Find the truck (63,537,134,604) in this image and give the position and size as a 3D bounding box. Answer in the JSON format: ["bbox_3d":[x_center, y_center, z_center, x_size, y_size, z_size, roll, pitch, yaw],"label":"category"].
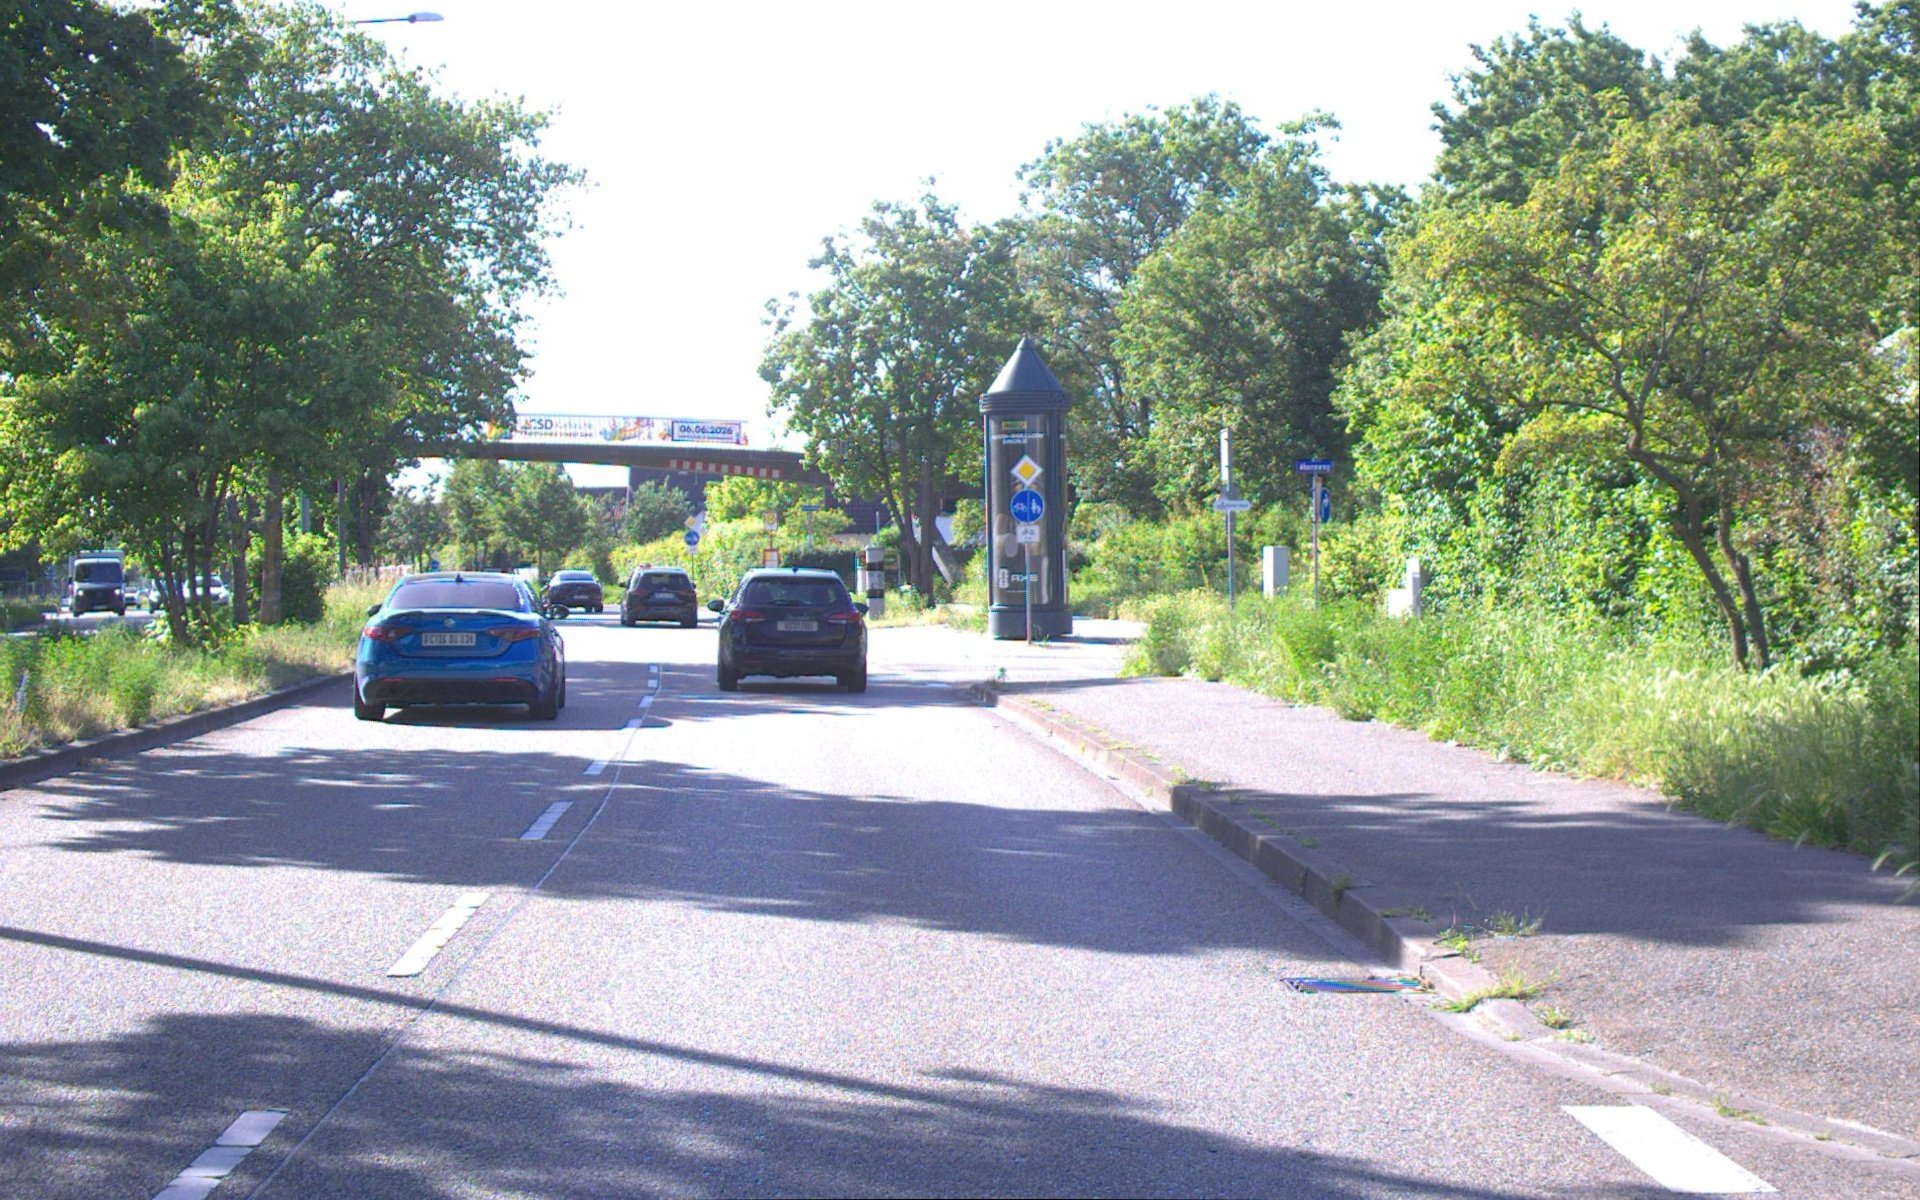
[{"bbox_3d":[-33.967,-1.162,135.417,2.172,2.504,5.743,-3,1,-18],"label":"truck"}]

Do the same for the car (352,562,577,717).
[{"bbox_3d":[-4.784,0.336,33.664,1.994,1.400,4.001,0,1,-6],"label":"car"}]

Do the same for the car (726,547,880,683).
[{"bbox_3d":[-1.941,0.193,42.149,1.760,1.554,4.000,1,-1,-3],"label":"car"}]

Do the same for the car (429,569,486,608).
[{"bbox_3d":[-18.170,-0.436,124.236,1.898,1.351,4.001,0,1,-10],"label":"car"}]

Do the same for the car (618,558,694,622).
[{"bbox_3d":[-7.846,-0.273,88.515,1.743,1.592,4.176,0,1,-8],"label":"car"}]

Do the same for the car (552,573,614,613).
[{"bbox_3d":[-13.256,-0.266,120.804,1.898,1.351,4.001,0,1,-10],"label":"car"}]
